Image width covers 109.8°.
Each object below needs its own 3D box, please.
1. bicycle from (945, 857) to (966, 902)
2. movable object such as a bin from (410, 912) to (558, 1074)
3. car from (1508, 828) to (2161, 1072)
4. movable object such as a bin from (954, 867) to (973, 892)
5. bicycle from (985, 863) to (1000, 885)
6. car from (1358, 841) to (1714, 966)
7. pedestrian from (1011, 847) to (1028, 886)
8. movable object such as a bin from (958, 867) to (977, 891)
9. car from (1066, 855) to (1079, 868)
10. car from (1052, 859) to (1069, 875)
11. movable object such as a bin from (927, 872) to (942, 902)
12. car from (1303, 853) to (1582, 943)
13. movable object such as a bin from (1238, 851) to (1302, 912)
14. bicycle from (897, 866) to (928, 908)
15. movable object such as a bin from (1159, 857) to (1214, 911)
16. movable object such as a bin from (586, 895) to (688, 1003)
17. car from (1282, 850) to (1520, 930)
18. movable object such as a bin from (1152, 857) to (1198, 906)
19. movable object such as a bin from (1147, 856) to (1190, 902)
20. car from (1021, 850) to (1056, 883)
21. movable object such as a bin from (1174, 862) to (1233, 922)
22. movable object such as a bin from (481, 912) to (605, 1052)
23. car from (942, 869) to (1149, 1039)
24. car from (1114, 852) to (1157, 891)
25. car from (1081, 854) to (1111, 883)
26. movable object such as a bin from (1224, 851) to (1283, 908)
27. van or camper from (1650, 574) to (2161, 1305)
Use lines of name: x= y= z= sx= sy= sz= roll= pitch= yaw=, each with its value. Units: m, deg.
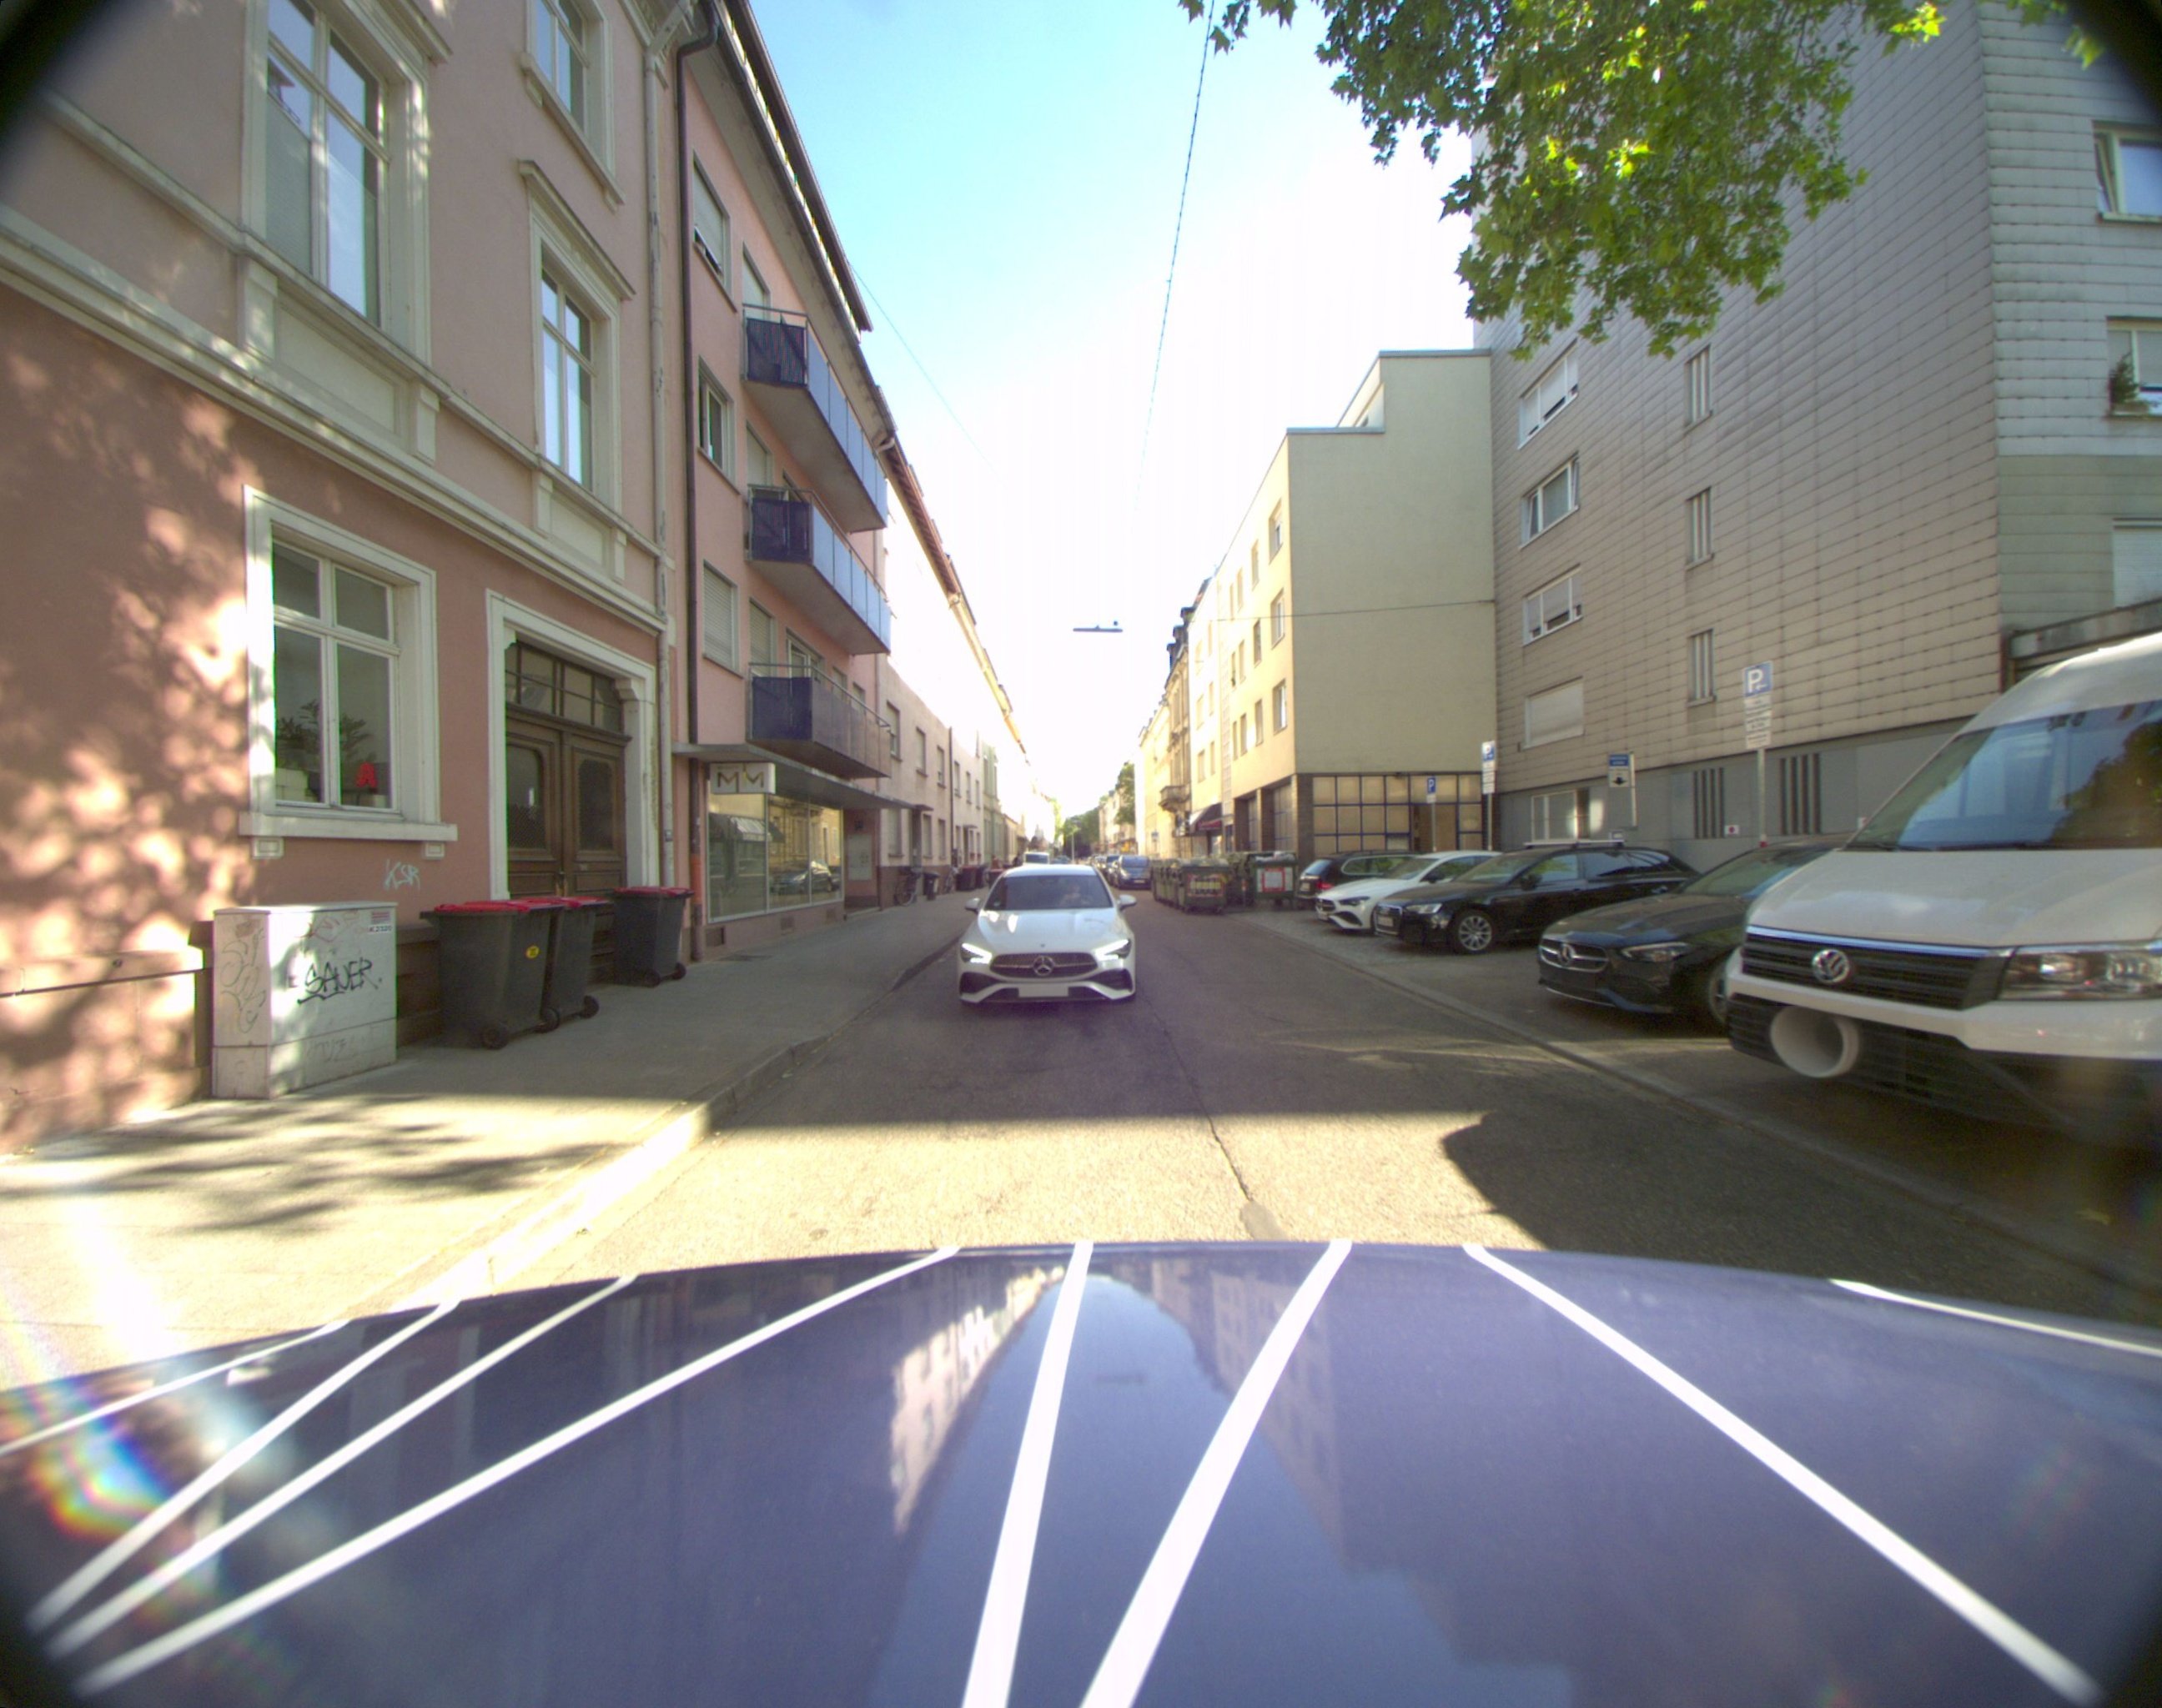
bicycle: x=-4.925 y=0.971 z=29.889 sx=0.402 sy=1.725 sz=2.107 roll=-1 pitch=0 yaw=1
movable object such as a bin: x=-4.431 y=1.009 z=5.679 sx=0.570 sy=1.078 sz=0.654 roll=2 pitch=0 yaw=-2
car: x=6.289 y=0.688 z=6.368 sx=4.415 sy=1.524 sz=1.699 roll=-3 pitch=0 yaw=-1
movable object such as a bin: x=-4.862 y=1.057 z=31.474 sx=0.717 sy=0.996 sz=0.546 roll=2 pitch=0 yaw=-2
bicycle: x=-4.607 y=1.042 z=39.576 sx=0.490 sy=1.089 sz=1.933 roll=-1 pitch=0 yaw=1
car: x=6.657 y=0.664 z=11.346 sx=4.417 sy=1.607 sz=1.698 roll=-1 pitch=0 yaw=-6
pedestrian: x=-3.152 y=0.628 z=38.952 sx=0.761 sy=2.002 sz=0.771 roll=-1 pitch=0 yaw=1
movable object such as a bin: x=-4.809 y=1.054 z=32.314 sx=0.717 sy=0.996 sz=0.546 roll=2 pitch=0 yaw=-2
car: x=-1.182 y=1.070 z=109.674 sx=1.765 sy=1.698 sz=4.327 roll=-1 pitch=0 yaw=0
car: x=-2.233 y=1.449 z=83.983 sx=1.765 sy=1.698 sz=4.327 roll=-1 pitch=0 yaw=0
movable object such as a bin: x=-4.746 y=1.063 z=24.650 sx=0.416 sy=0.935 sz=0.302 roll=2 pitch=0 yaw=-2
car: x=6.537 y=0.755 z=13.958 sx=4.417 sy=1.454 sz=1.599 roll=-1 pitch=0 yaw=-6
movable object such as a bin: x=4.875 y=0.694 z=19.683 sx=1.328 sy=1.492 sz=1.195 roll=-1 pitch=0 yaw=-2
bicycle: x=-4.871 y=0.931 z=22.076 sx=0.402 sy=1.143 sz=2.025 roll=-1 pitch=0 yaw=1
movable object such as a bin: x=3.051 y=0.849 z=22.246 sx=1.247 sy=1.491 sz=1.925 roll=-1 pitch=0 yaw=-2
movable object such as a bin: x=-4.793 y=1.008 z=8.235 sx=0.718 sy=1.078 sz=0.618 roll=2 pitch=0 yaw=-2
car: x=6.776 y=0.734 z=16.312 sx=4.417 sy=1.524 sz=1.698 roll=-1 pitch=0 yaw=-6
movable object such as a bin: x=2.994 y=0.850 z=24.322 sx=1.222 sy=1.491 sz=1.560 roll=-1 pitch=0 yaw=-2
movable object such as a bin: x=2.969 y=0.840 z=25.940 sx=1.222 sy=1.491 sz=1.560 roll=-1 pitch=0 yaw=-2
car: x=-2.512 y=0.729 z=45.886 sx=1.765 sy=1.843 sz=4.328 roll=-1 pitch=0 yaw=1
movable object such as a bin: x=3.213 y=0.974 z=20.179 sx=1.241 sy=1.491 sz=1.877 roll=1 pitch=0 yaw=-1
movable object such as a bin: x=-4.438 y=1.034 z=6.299 sx=0.570 sy=1.052 sz=0.612 roll=2 pitch=0 yaw=-2
car: x=-0.298 y=0.956 z=9.232 sx=1.862 sy=1.448 sz=4.563 roll=-1 pitch=0 yaw=1
car: x=2.524 y=0.795 z=36.192 sx=1.765 sy=1.698 sz=4.328 roll=-1 pitch=0 yaw=1
car: x=0.923 y=0.862 z=47.518 sx=1.765 sy=1.698 sz=4.328 roll=-1 pitch=0 yaw=1
movable object such as a bin: x=4.754 y=0.679 z=21.087 sx=1.222 sy=1.491 sz=1.517 roll=-1 pitch=0 yaw=-2
van or camper: x=7.034 y=0.067 z=3.641 sx=6.922 sy=2.559 sz=2.000 roll=-4 pitch=0 yaw=1
